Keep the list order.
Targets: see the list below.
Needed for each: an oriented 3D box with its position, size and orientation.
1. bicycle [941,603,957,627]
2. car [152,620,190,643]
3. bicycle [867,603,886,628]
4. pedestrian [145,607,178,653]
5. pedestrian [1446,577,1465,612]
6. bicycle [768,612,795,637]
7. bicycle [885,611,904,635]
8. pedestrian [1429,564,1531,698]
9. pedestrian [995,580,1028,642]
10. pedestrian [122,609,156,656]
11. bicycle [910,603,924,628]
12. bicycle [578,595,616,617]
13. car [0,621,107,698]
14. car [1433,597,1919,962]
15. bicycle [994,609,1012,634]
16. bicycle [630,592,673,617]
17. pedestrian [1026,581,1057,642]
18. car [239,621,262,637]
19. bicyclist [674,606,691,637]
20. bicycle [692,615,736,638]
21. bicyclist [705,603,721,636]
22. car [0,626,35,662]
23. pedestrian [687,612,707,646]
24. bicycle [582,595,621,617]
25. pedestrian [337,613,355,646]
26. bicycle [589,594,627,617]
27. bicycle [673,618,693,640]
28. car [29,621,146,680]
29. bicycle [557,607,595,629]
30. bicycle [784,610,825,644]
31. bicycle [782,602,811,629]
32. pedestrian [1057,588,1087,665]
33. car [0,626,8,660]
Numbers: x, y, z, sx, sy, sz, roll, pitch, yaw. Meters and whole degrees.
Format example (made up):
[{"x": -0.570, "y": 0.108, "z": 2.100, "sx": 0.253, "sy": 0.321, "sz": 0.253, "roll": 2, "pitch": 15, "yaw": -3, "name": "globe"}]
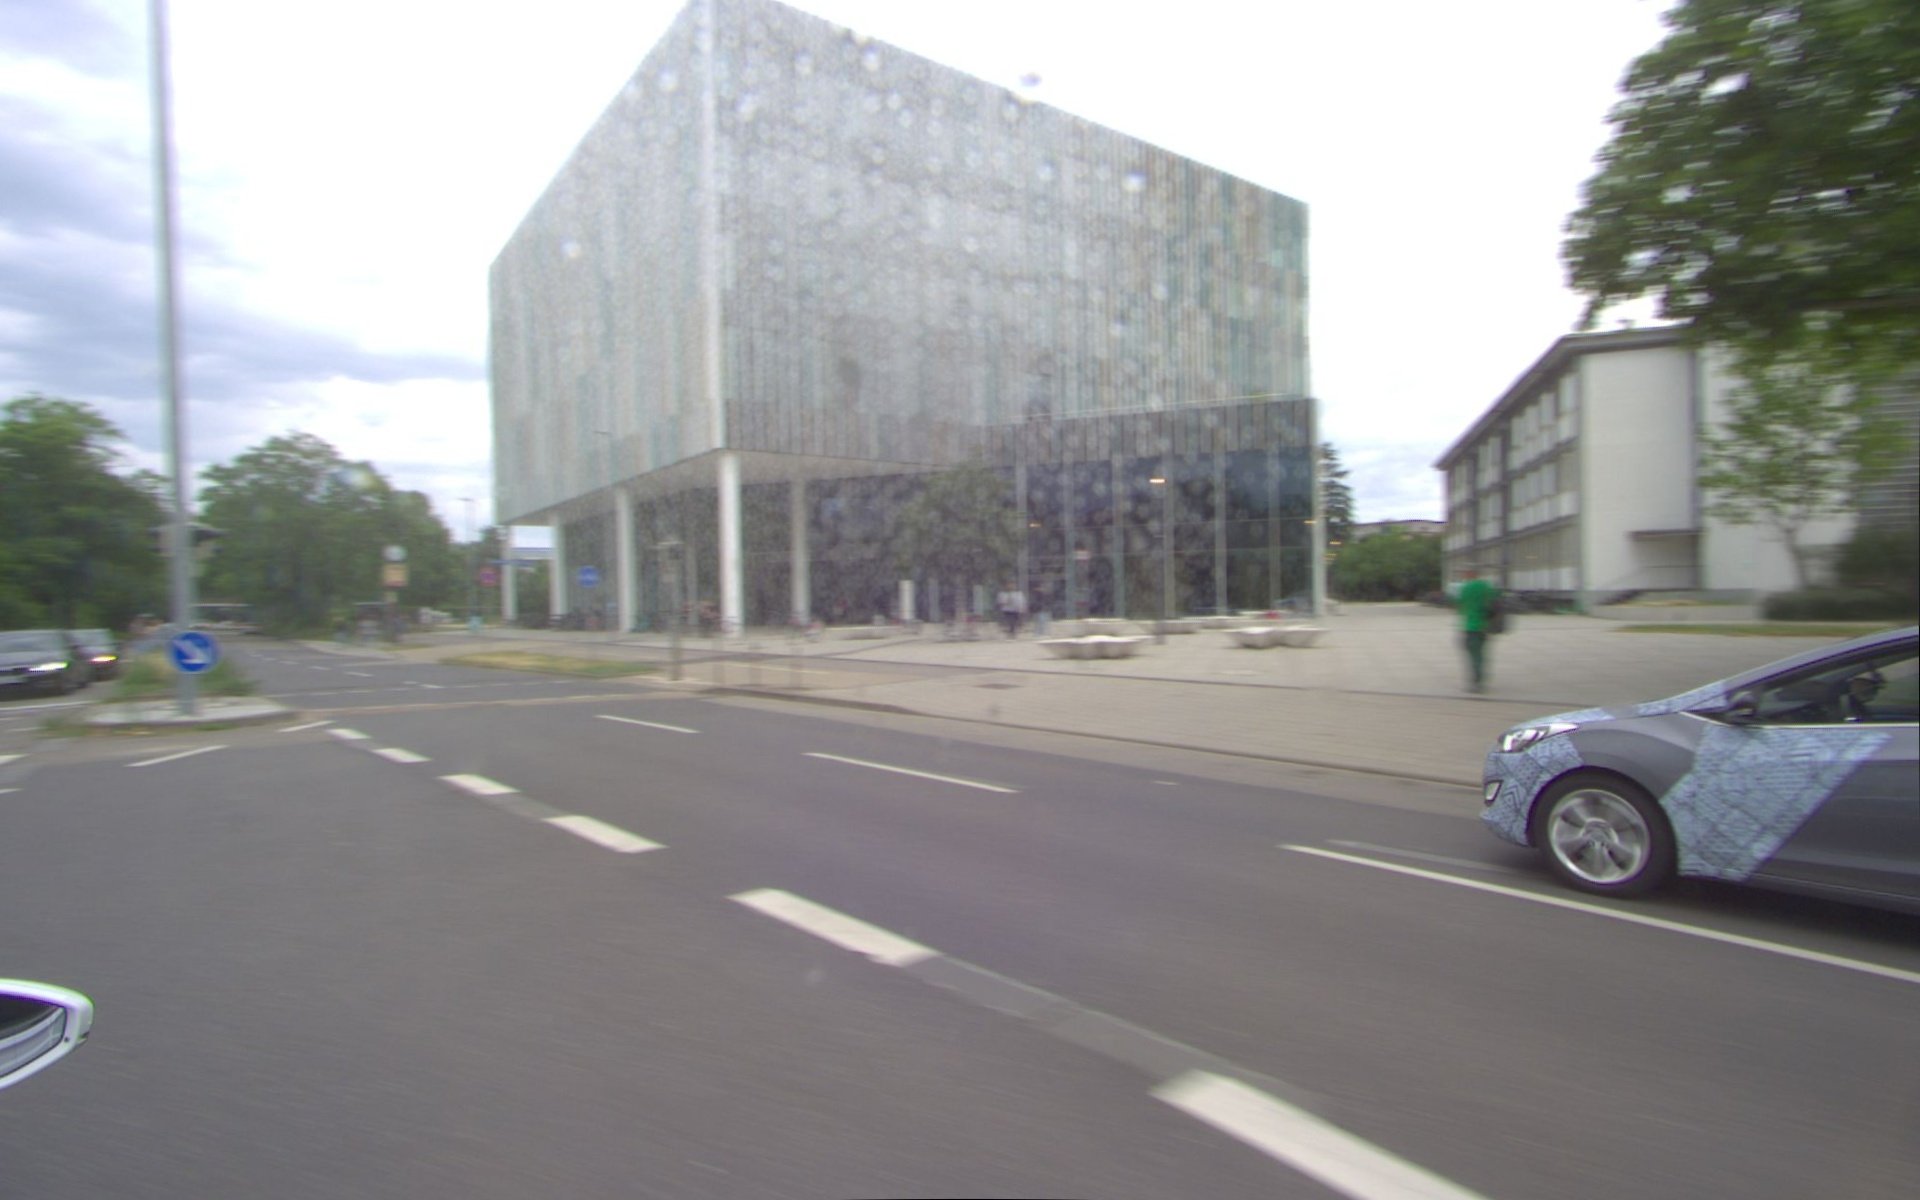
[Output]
[{"x": -0.465, "y": 0.603, "z": 41.073, "sx": 0.474, "sy": 0.948, "sz": 2.009, "roll": -2, "pitch": 1, "yaw": -5, "name": "bicycle"}, {"x": -60.704, "y": 2.405, "z": 77.093, "sx": 1.973, "sy": 1.639, "sz": 4.167, "roll": -2, "pitch": 0, "yaw": -34, "name": "car"}, {"x": -3.494, "y": 0.637, "z": 42.007, "sx": 0.474, "sy": 0.948, "sz": 2.009, "roll": -2, "pitch": 1, "yaw": 3, "name": "bicycle"}, {"x": -32.349, "y": 1.222, "z": 40.568, "sx": 0.881, "sy": 1.812, "sz": 0.712, "roll": -1, "pitch": 1, "yaw": 29, "name": "pedestrian"}, {"x": 26.212, "y": -0.308, "z": 52.984, "sx": 0.762, "sy": 1.813, "sz": 0.760, "roll": -1, "pitch": 2, "yaw": 19, "name": "pedestrian"}, {"x": -8.204, "y": 1.129, "z": 46.132, "sx": 0.475, "sy": 1.059, "sz": 1.914, "roll": -1, "pitch": 0, "yaw": 14, "name": "bicycle"}, {"x": -2.745, "y": 0.938, "z": 41.892, "sx": 0.538, "sy": 0.948, "sz": 2.009, "roll": -1, "pitch": 0, "yaw": 3, "name": "bicycle"}, {"x": 7.204, "y": 0.404, "z": 13.863, "sx": 0.895, "sy": 1.738, "sz": 0.943, "roll": -6, "pitch": 3, "yaw": -40, "name": "pedestrian"}, {"x": 1.565, "y": 0.329, "z": 30.300, "sx": 0.830, "sy": 1.812, "sz": 0.894, "roll": -1, "pitch": 1, "yaw": 11, "name": "pedestrian"}, {"x": -32.652, "y": 1.278, "z": 39.834, "sx": 0.881, "sy": 1.812, "sz": 0.712, "roll": -1, "pitch": 1, "yaw": 29, "name": "pedestrian"}, {"x": -1.774, "y": 0.613, "z": 41.254, "sx": 0.474, "sy": 0.948, "sz": 2.009, "roll": -2, "pitch": 1, "yaw": -5, "name": "bicycle"}, {"x": -22.010, "y": 0.388, "z": 60.790, "sx": 2.080, "sy": 1.275, "sz": 0.624, "roll": 1, "pitch": -2, "yaw": -39, "name": "bicycle"}, {"x": -20.787, "y": 1.290, "z": 22.625, "sx": 1.975, "sy": 1.509, "sz": 4.260, "roll": -3, "pitch": 1, "yaw": -37, "name": "car"}, {"x": 4.732, "y": 0.746, "z": 4.640, "sx": 1.975, "sy": 1.487, "sz": 4.199, "roll": 1, "pitch": -1, "yaw": -35, "name": "car"}, {"x": 1.746, "y": 0.855, "z": 41.081, "sx": 0.474, "sy": 0.948, "sz": 2.009, "roll": -2, "pitch": 1, "yaw": -5, "name": "bicycle"}, {"x": -16.322, "y": 0.239, "z": 53.026, "sx": 2.076, "sy": 1.275, "sz": 0.625, "roll": 1, "pitch": -2, "yaw": -32, "name": "bicycle"}, {"x": 2.474, "y": 0.331, "z": 30.343, "sx": 0.830, "sy": 1.812, "sz": 0.894, "roll": -1, "pitch": 1, "yaw": 11, "name": "pedestrian"}, {"x": -76.702, "y": 3.080, "z": 108.217, "sx": 1.795, "sy": 1.639, "sz": 3.969, "roll": -2, "pitch": 0, "yaw": -38, "name": "car"}, {"x": -12.947, "y": 0.993, "z": 46.743, "sx": 0.609, "sy": 1.401, "sz": 0.716, "roll": -2, "pitch": 1, "yaw": -24, "name": "bicyclist"}, {"x": -11.243, "y": 1.194, "z": 45.721, "sx": 1.884, "sy": 0.938, "sz": 0.604, "roll": -2, "pitch": 1, "yaw": -21, "name": "bicycle"}, {"x": -11.285, "y": 0.895, "z": 45.736, "sx": 0.595, "sy": 1.488, "sz": 0.483, "roll": -2, "pitch": 1, "yaw": -19, "name": "bicyclist"}, {"x": -47.070, "y": 2.159, "z": 49.033, "sx": 1.973, "sy": 1.639, "sz": 3.974, "roll": -2, "pitch": 0, "yaw": -34, "name": "car"}, {"x": -14.335, "y": 1.566, "z": 54.540, "sx": 0.792, "sy": 1.813, "sz": 0.757, "roll": -3, "pitch": 2, "yaw": -35, "name": "pedestrian"}, {"x": -21.576, "y": 0.369, "z": 60.292, "sx": 2.080, "sy": 1.275, "sz": 0.624, "roll": 1, "pitch": -2, "yaw": -39, "name": "bicycle"}, {"x": -34.180, "y": 1.636, "z": 55.768, "sx": 0.798, "sy": 1.834, "sz": 0.585, "roll": -2, "pitch": 1, "yaw": -33, "name": "pedestrian"}, {"x": -20.944, "y": 0.341, "z": 59.580, "sx": 2.076, "sy": 1.275, "sz": 0.625, "roll": 1, "pitch": -2, "yaw": -32, "name": "bicycle"}, {"x": -12.937, "y": 1.342, "z": 46.743, "sx": 0.609, "sy": 0.938, "sz": 1.910, "roll": -2, "pitch": 0, "yaw": -24, "name": "bicycle"}, {"x": -24.650, "y": 1.374, "z": 28.436, "sx": 1.973, "sy": 1.472, "sz": 3.974, "roll": -2, "pitch": 0, "yaw": -34, "name": "car"}, {"x": -24.201, "y": 1.128, "z": 63.115, "sx": 2.079, "sy": 1.276, "sz": 0.623, "roll": -2, "pitch": 1, "yaw": -39, "name": "bicycle"}, {"x": -5.397, "y": 0.924, "z": 34.822, "sx": 0.476, "sy": 1.059, "sz": 1.777, "roll": -1, "pitch": 2, "yaw": 24, "name": "bicycle"}, {"x": -7.069, "y": 0.651, "z": 43.302, "sx": 0.475, "sy": 1.059, "sz": 1.913, "roll": -1, "pitch": 1, "yaw": 14, "name": "bicycle"}, {"x": 2.516, "y": 0.589, "z": 22.526, "sx": 0.606, "sy": 1.688, "sz": 0.624, "roll": -2, "pitch": 0, "yaw": 3, "name": "pedestrian"}, {"x": -44.597, "y": 1.993, "z": 44.958, "sx": 1.973, "sy": 1.532, "sz": 3.974, "roll": -2, "pitch": 0, "yaw": -34, "name": "car"}]
